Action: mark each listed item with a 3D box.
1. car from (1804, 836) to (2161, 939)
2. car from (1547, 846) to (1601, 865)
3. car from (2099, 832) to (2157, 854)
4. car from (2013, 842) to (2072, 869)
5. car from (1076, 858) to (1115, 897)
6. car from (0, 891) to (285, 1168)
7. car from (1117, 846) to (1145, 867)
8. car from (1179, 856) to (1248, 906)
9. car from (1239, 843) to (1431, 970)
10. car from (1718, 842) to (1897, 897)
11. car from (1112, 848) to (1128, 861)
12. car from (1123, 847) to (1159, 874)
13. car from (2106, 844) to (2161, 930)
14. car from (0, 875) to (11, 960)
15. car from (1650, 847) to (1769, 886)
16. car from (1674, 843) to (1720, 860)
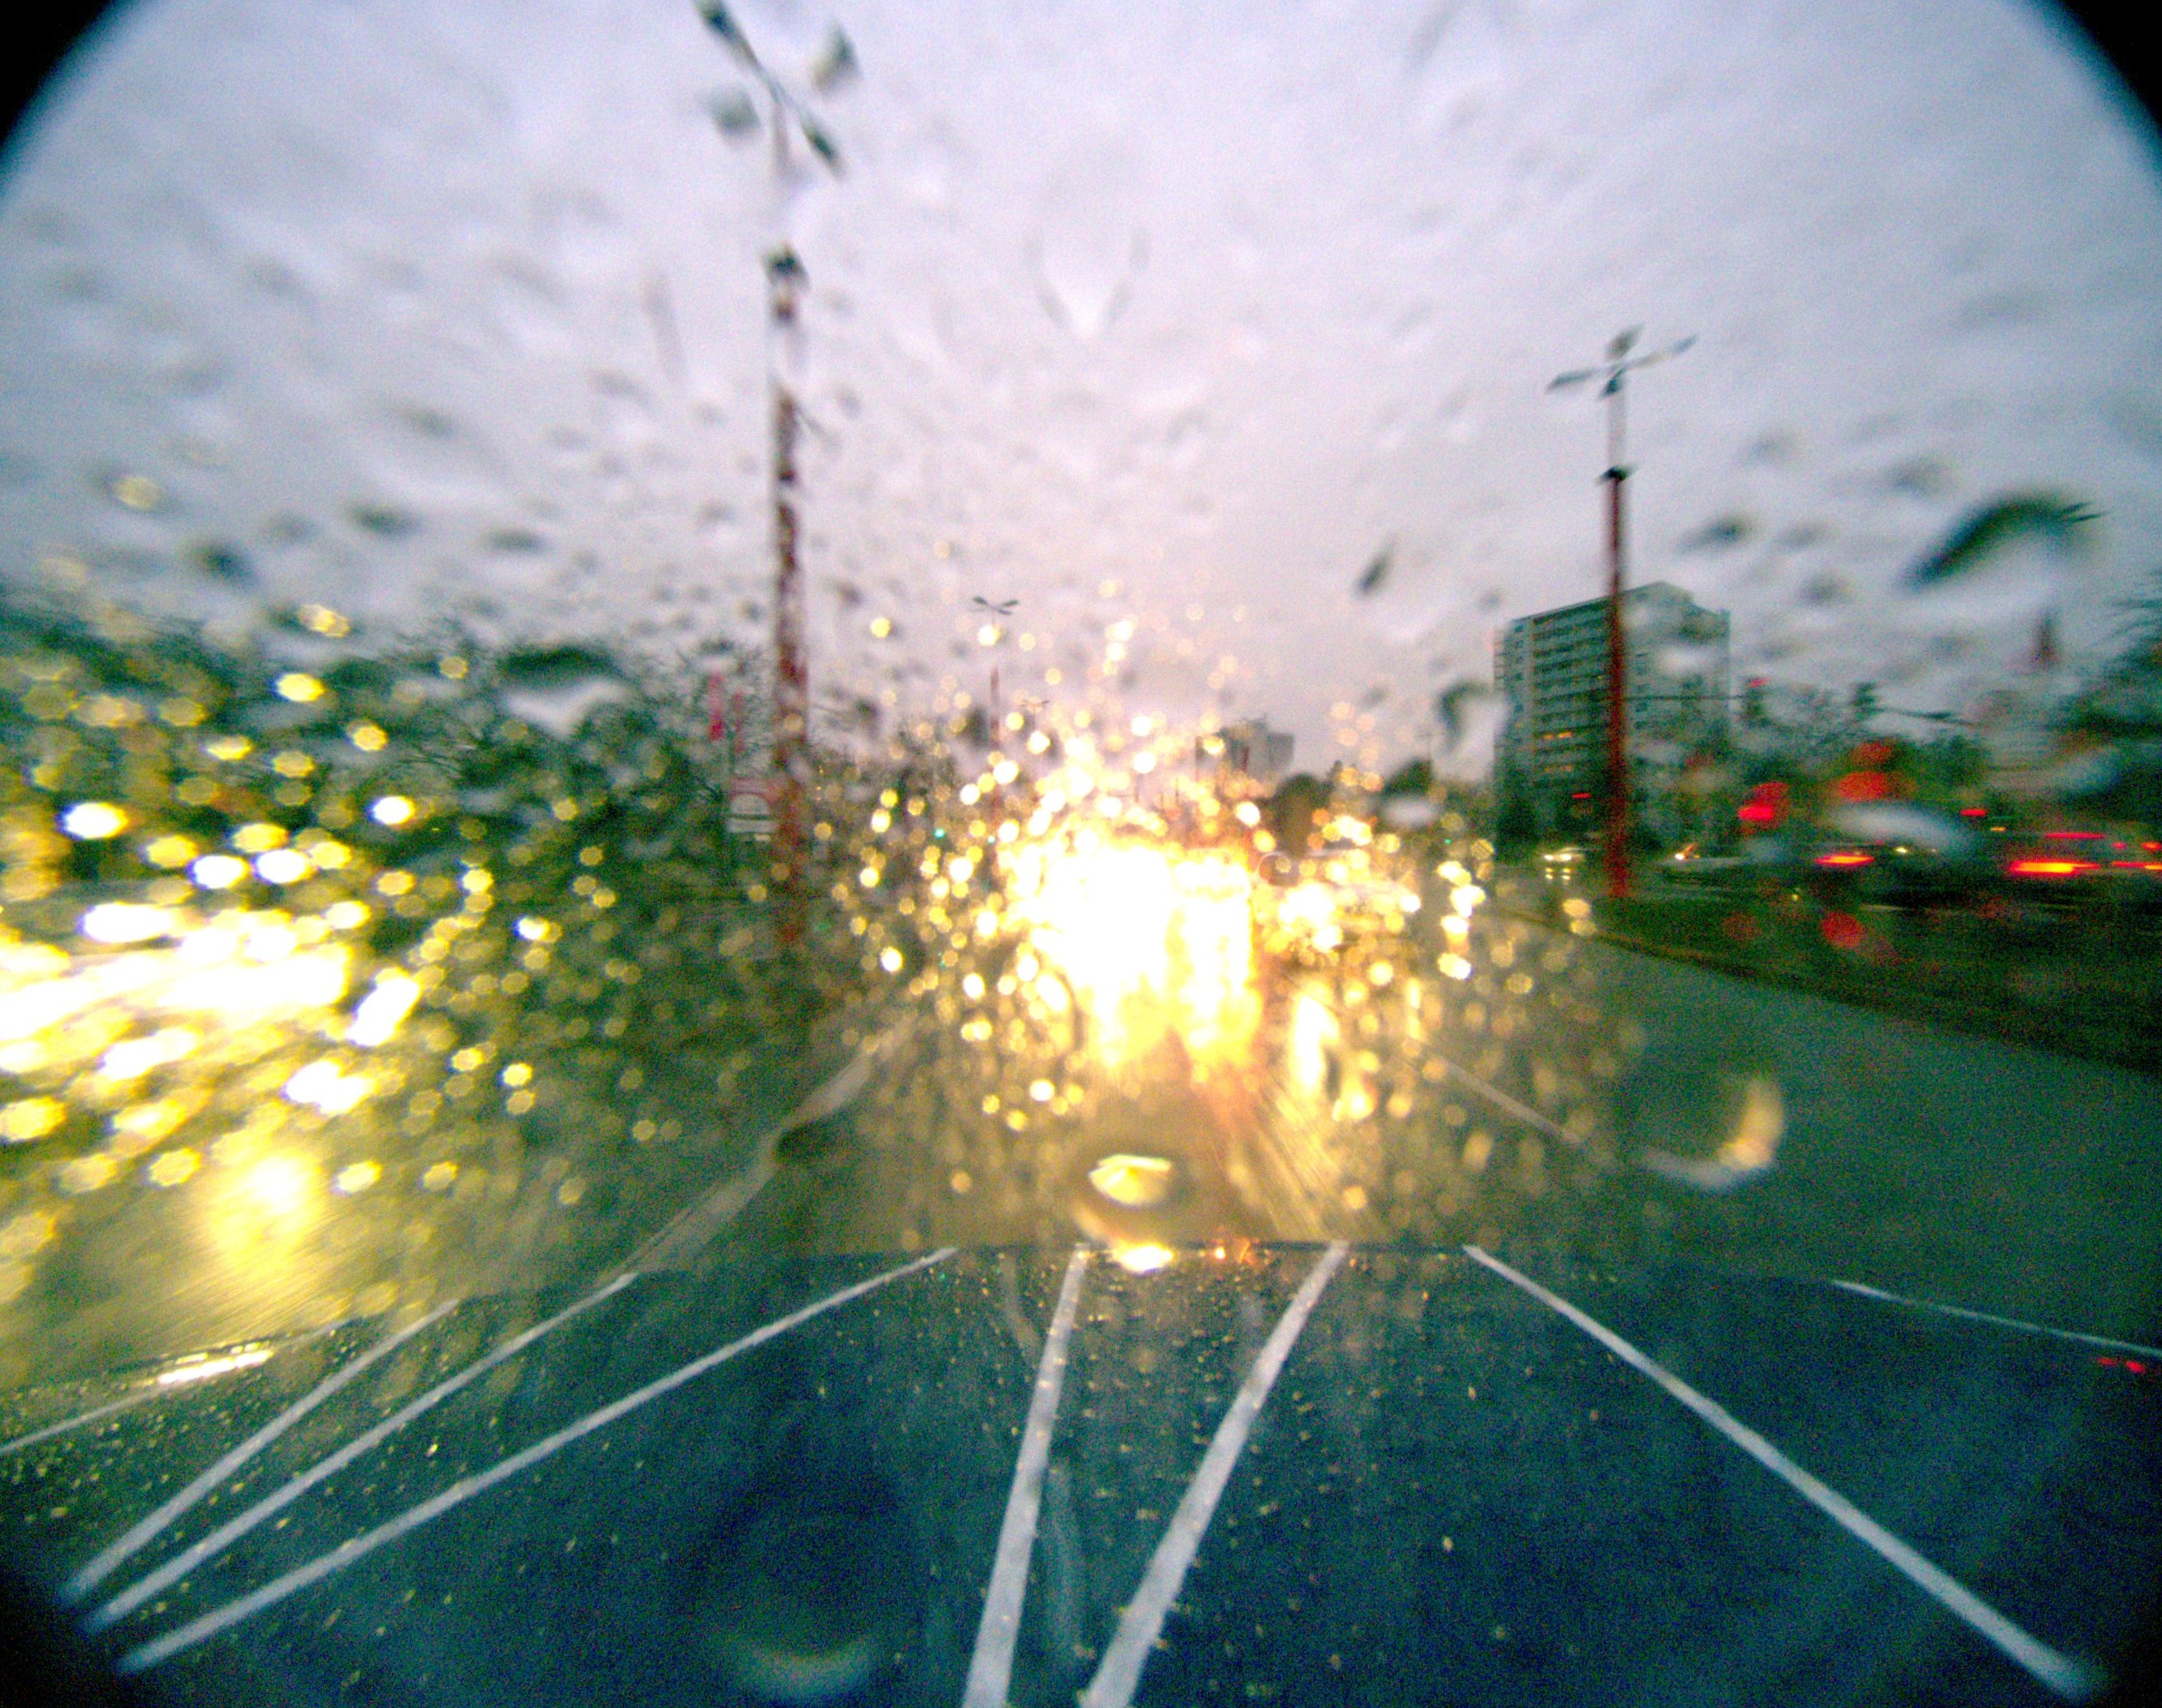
[{"bbox_3d":[16.021,0.506,13.780,1.862,1.572,4.078,-1,0,-2],"label":"car"},{"bbox_3d":[42.460,0.108,65.483,4.446,1.536,1.847,-1,1,-25],"label":"car"},{"bbox_3d":[76.282,-0.817,55.344,4.492,1.521,1.995,-1,1,-30],"label":"car"},{"bbox_3d":[57.735,0.061,45.614,4.606,1.521,1.995,-1,1,-36],"label":"car"},{"bbox_3d":[0.633,1.028,35.030,1.679,1.590,4.044,-1,1,0],"label":"car"},{"bbox_3d":[-7.770,1.100,6.032,4.741,1.368,1.887,0,1,43],"label":"car"},{"bbox_3d":[3.958,0.178,60.660,1.952,1.590,4.124,-1,1,0],"label":"car"},{"bbox_3d":[4.645,0.908,27.191,1.694,1.530,4.189,-2,1,0],"label":"car"},{"bbox_3d":[3.750,0.660,12.004,1.718,1.638,4.146,-1,1,1],"label":"car"},{"bbox_3d":[22.287,0.416,23.542,1.774,1.544,3.946,-1,0,0],"label":"car"},{"bbox_3d":[5.092,0.049,99.828,1.998,1.605,4.000,-1,0,1],"label":"car"},{"bbox_3d":[3.770,0.382,48.005,1.952,1.590,4.124,-1,1,0],"label":"car"},{"bbox_3d":[18.631,0.540,11.541,1.656,1.412,3.326,-1,0,1],"label":"car"},{"bbox_3d":[-18.654,0.993,11.123,3.995,1.302,1.638,0,1,5],"label":"car"},{"bbox_3d":[25.928,0.464,31.537,1.622,1.486,4.016,-1,0,0],"label":"car"},{"bbox_3d":[56.188,-0.242,69.283,4.005,1.536,1.709,-1,1,-25],"label":"car"}]
